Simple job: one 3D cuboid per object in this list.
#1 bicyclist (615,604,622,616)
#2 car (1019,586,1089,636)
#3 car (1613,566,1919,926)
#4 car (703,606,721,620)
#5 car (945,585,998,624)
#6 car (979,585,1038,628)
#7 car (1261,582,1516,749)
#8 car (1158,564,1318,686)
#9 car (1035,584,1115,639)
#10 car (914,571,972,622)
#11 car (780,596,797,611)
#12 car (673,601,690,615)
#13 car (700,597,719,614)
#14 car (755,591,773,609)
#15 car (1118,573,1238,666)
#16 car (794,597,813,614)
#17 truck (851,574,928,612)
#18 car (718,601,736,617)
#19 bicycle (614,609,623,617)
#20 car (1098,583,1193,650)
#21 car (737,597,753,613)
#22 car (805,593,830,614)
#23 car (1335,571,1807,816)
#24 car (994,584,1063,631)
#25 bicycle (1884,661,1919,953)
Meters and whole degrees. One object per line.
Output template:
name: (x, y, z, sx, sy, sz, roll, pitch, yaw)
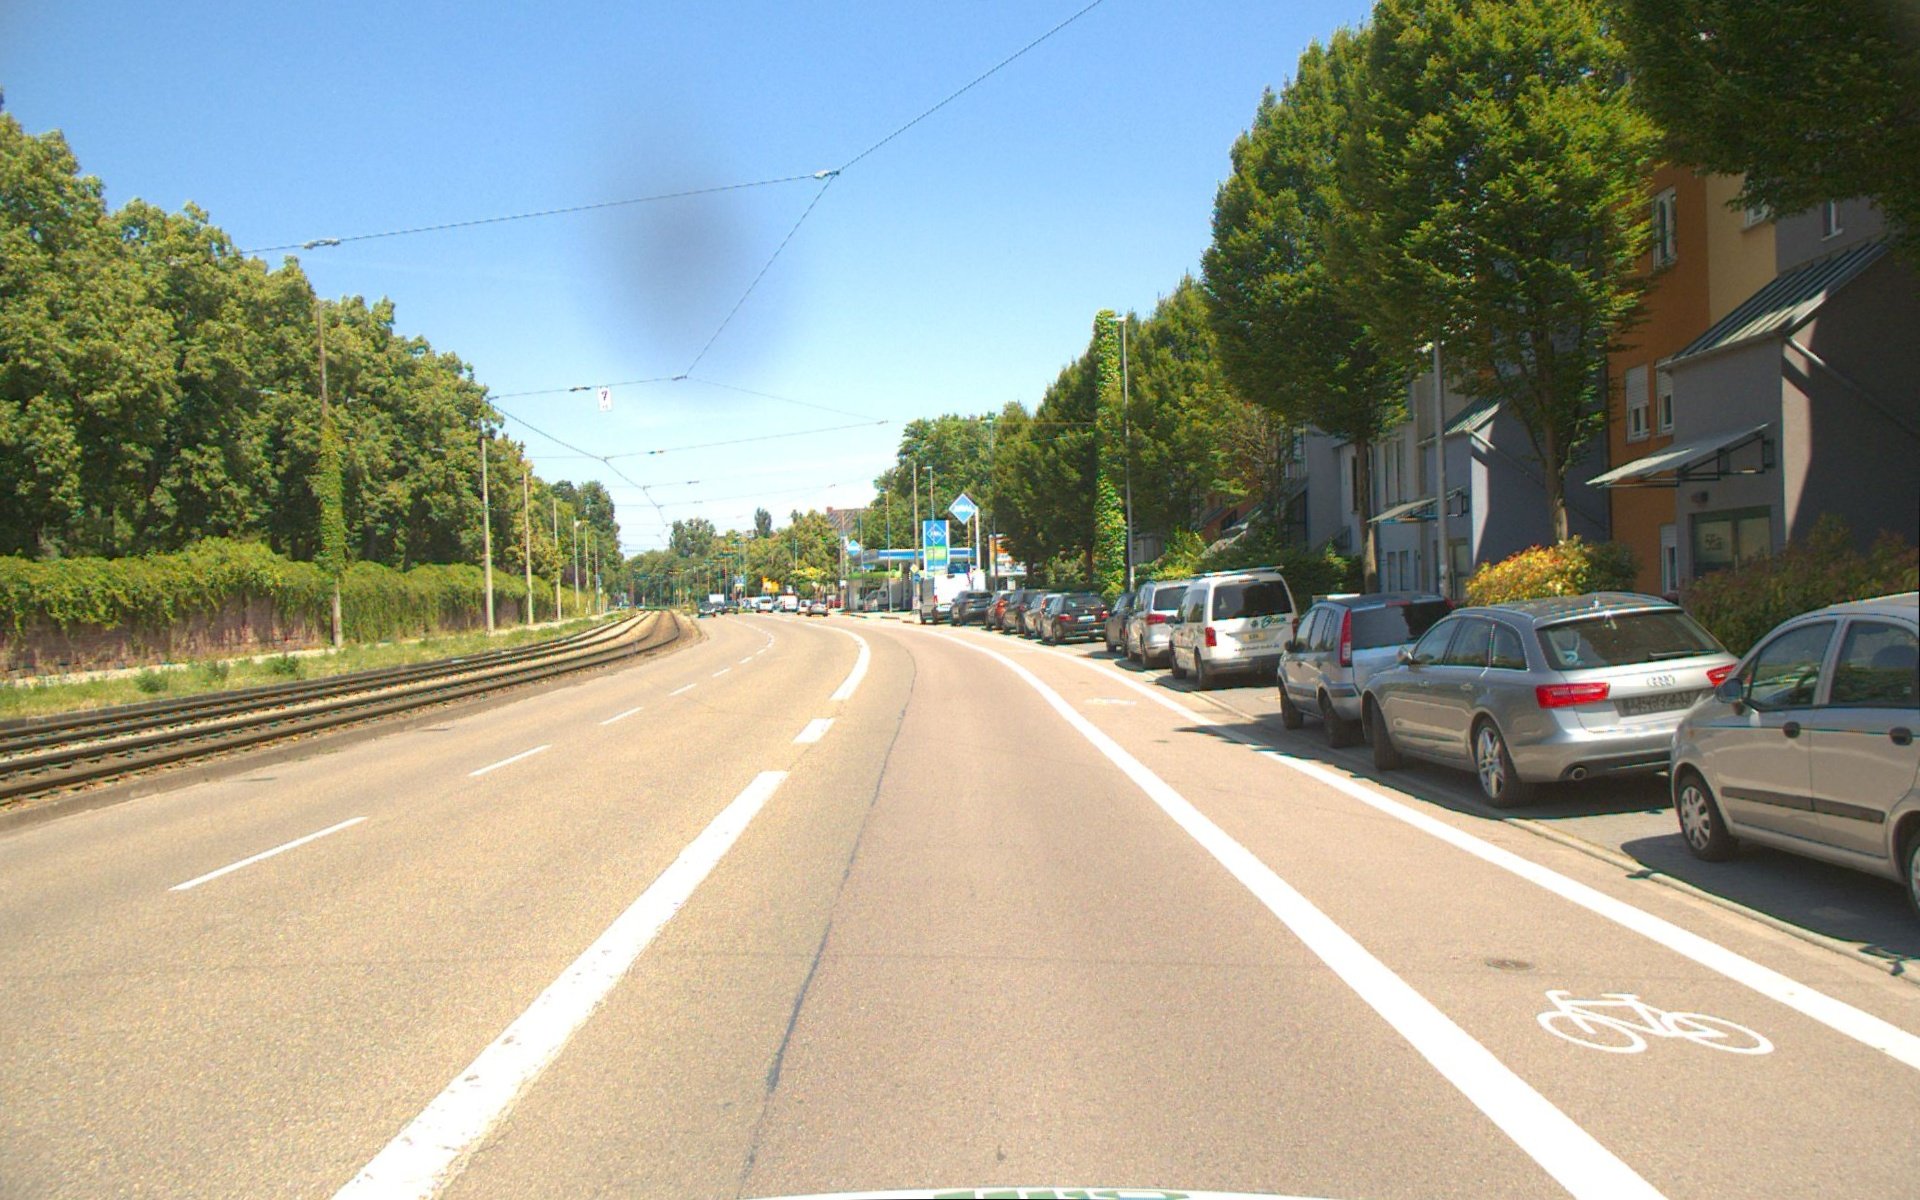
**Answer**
bicyclist: (-47.817, 1.418, 231.545, 0.668, 1.601, 0.795, -6, 0, 0)
car: (3.210, 0.352, 57.374, 1.674, 1.518, 4.726, -4, 1, -5)
car: (5.046, 0.638, 8.844, 1.488, 1.556, 3.816, -4, 1, 0)
car: (-31.703, 1.618, 211.116, 1.727, 1.658, 4.307, -4, 1, -15)
car: (0.505, 0.209, 78.873, 1.724, 1.658, 4.314, -4, 1, -10)
car: (1.981, 0.262, 68.920, 1.675, 1.589, 4.316, -4, 1, -8)
car: (4.728, 0.640, 18.884, 1.803, 1.556, 4.216, -4, 1, 1)
car: (4.739, 0.380, 28.825, 1.804, 1.825, 4.352, -4, 1, -2)
car: (3.541, 0.332, 51.848, 1.674, 1.518, 5.034, -4, 1, -4)
car: (-0.966, -0.177, 88.967, 1.965, 2.499, 6.094, -4, 1, -10)
car: (-20.566, 0.464, 198.362, 1.724, 1.658, 4.314, -4, 1, -10)
car: (-34.998, 1.030, 207.800, 1.727, 1.658, 4.307, -4, 1, -15)
car: (-24.826, 0.554, 164.091, 1.724, 1.535, 4.314, -4, 1, -10)
car: (-23.184, 0.013, 195.611, 1.724, 1.907, 4.314, -4, 1, -10)
car: (4.528, 0.358, 35.007, 1.803, 1.723, 4.778, -4, 1, 0)
car: (-16.489, 0.564, 174.530, 1.723, 1.658, 4.316, -4, 1, -8)
truck: (-7.365, -0.708, 172.806, 7.810, 3.665, 2.661, -2, 0, -4)
car: (-25.969, 0.996, 184.320, 1.724, 1.658, 4.314, -4, 1, -10)
bicycle: (-47.776, 1.788, 231.537, 0.668, 1.072, 2.009, -6, 0, 0)
car: (4.459, 0.365, 40.371, 1.552, 1.448, 4.177, -4, 1, -3)
car: (-25.266, 0.597, 194.130, 1.723, 1.658, 4.316, -4, 1, -8)
car: (-12.659, 0.297, 146.573, 1.724, 1.658, 4.314, -4, 1, -10)
car: (4.769, 0.619, 13.848, 1.804, 1.556, 4.963, -4, 1, -3)
car: (2.560, 0.278, 63.013, 1.676, 1.589, 4.314, -4, 1, -10)
bicycle: (4.926, 0.806, 6.804, 1.737, 1.249, 0.684, -6, 0, 3)
